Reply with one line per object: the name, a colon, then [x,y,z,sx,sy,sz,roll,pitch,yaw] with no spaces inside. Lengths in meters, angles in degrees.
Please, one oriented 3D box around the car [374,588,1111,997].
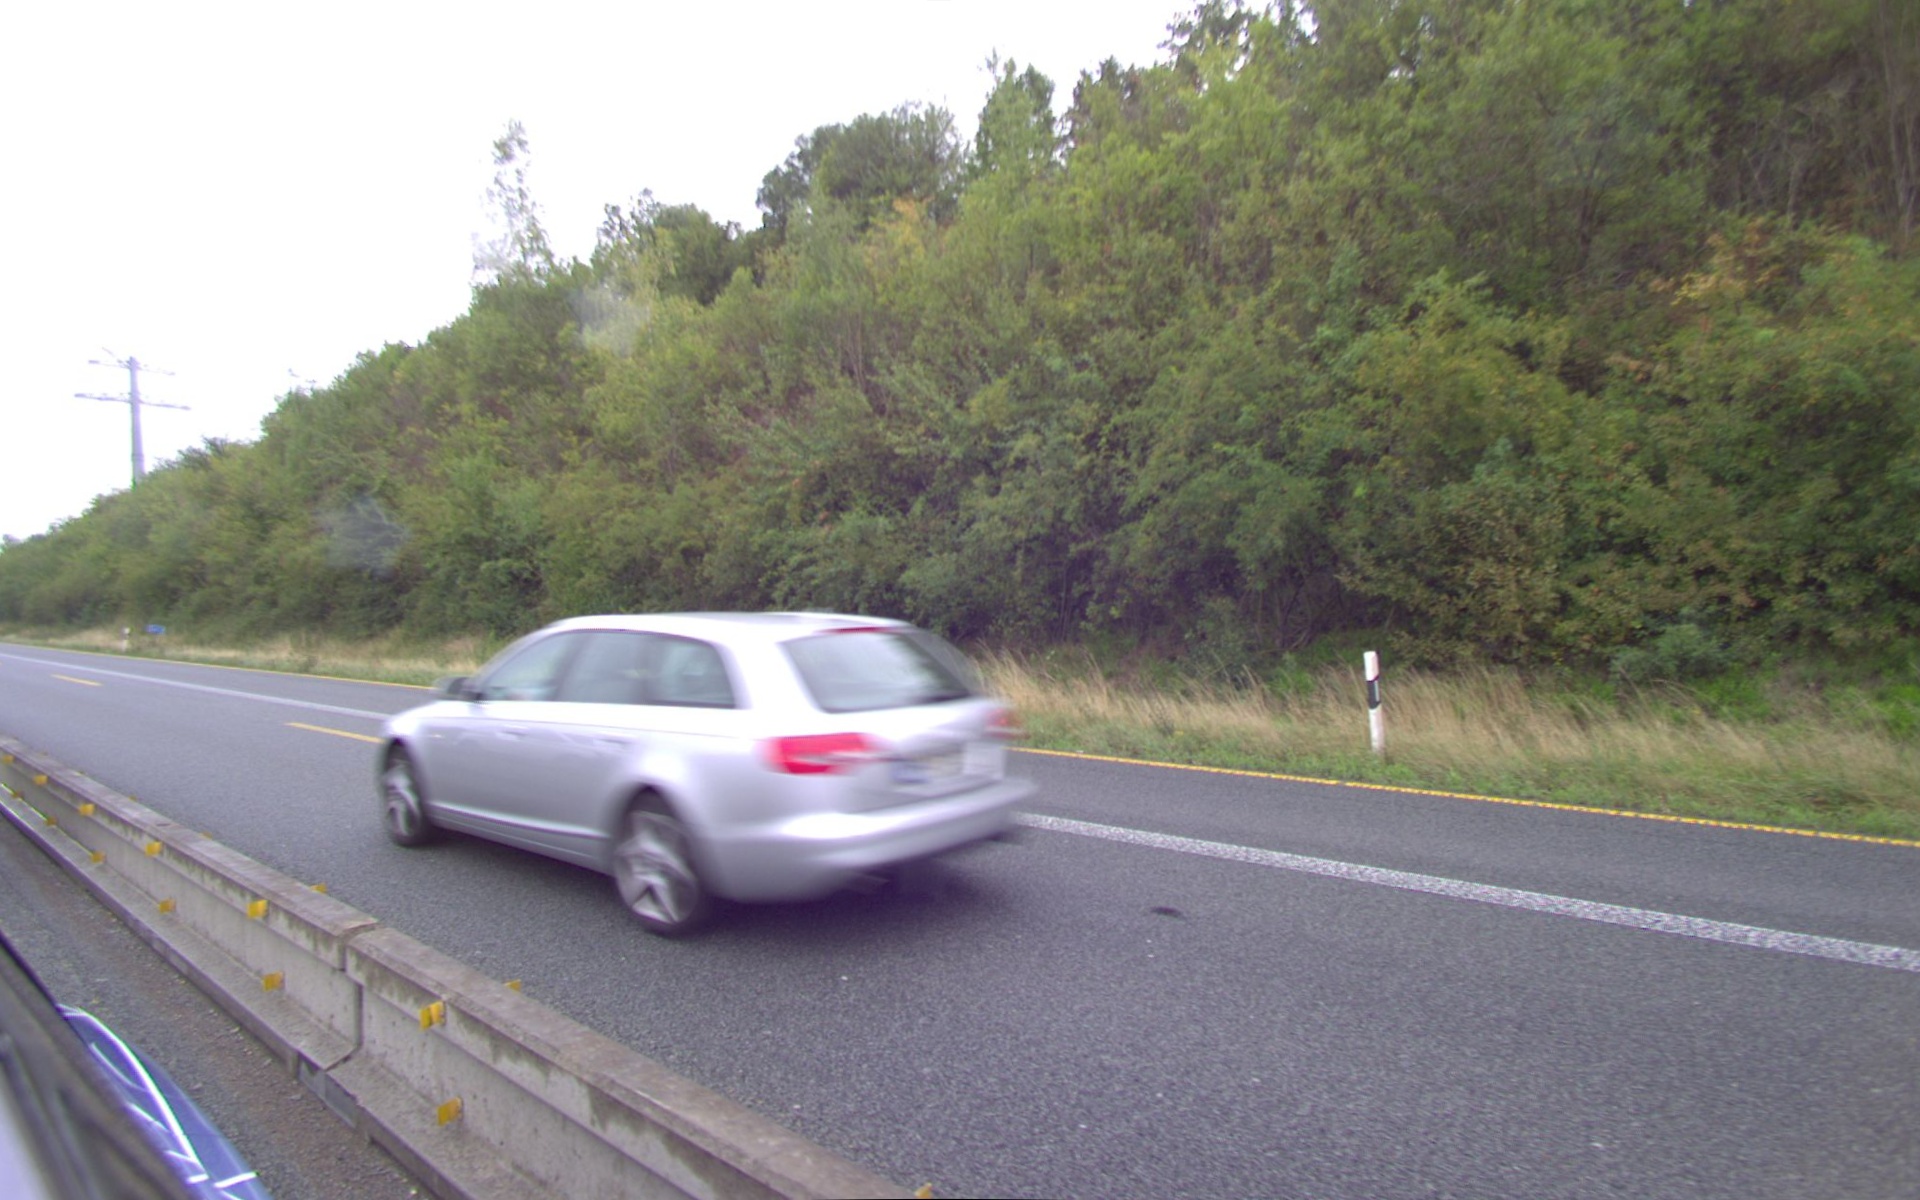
car: [-1.479,0.703,5.674,4.324,1.454,1.762,-1,0,40]
